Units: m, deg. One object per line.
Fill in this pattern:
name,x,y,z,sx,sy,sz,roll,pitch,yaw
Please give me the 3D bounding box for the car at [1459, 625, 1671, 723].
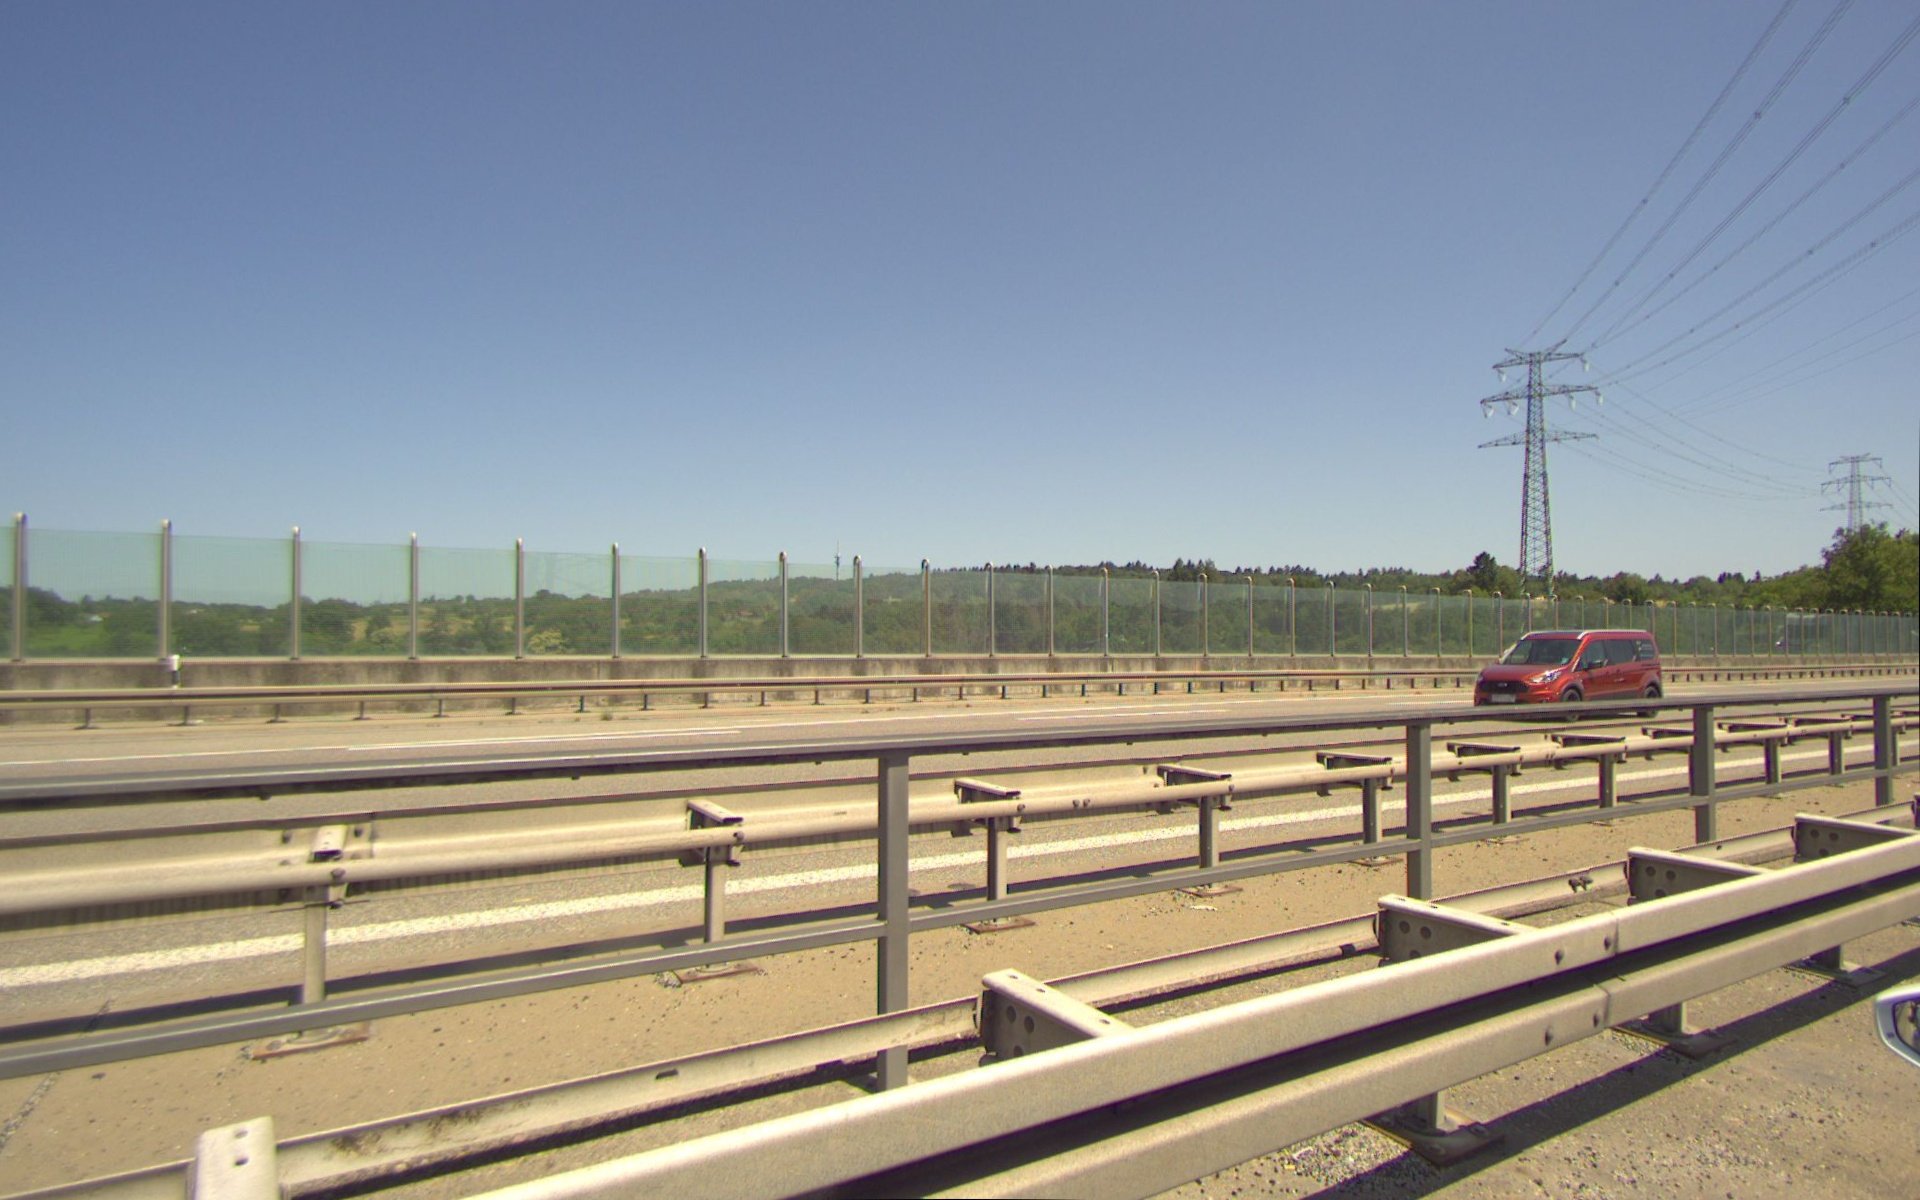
car,12.660,1.496,20.947,4.694,1.846,1.830,2,-2,-31
